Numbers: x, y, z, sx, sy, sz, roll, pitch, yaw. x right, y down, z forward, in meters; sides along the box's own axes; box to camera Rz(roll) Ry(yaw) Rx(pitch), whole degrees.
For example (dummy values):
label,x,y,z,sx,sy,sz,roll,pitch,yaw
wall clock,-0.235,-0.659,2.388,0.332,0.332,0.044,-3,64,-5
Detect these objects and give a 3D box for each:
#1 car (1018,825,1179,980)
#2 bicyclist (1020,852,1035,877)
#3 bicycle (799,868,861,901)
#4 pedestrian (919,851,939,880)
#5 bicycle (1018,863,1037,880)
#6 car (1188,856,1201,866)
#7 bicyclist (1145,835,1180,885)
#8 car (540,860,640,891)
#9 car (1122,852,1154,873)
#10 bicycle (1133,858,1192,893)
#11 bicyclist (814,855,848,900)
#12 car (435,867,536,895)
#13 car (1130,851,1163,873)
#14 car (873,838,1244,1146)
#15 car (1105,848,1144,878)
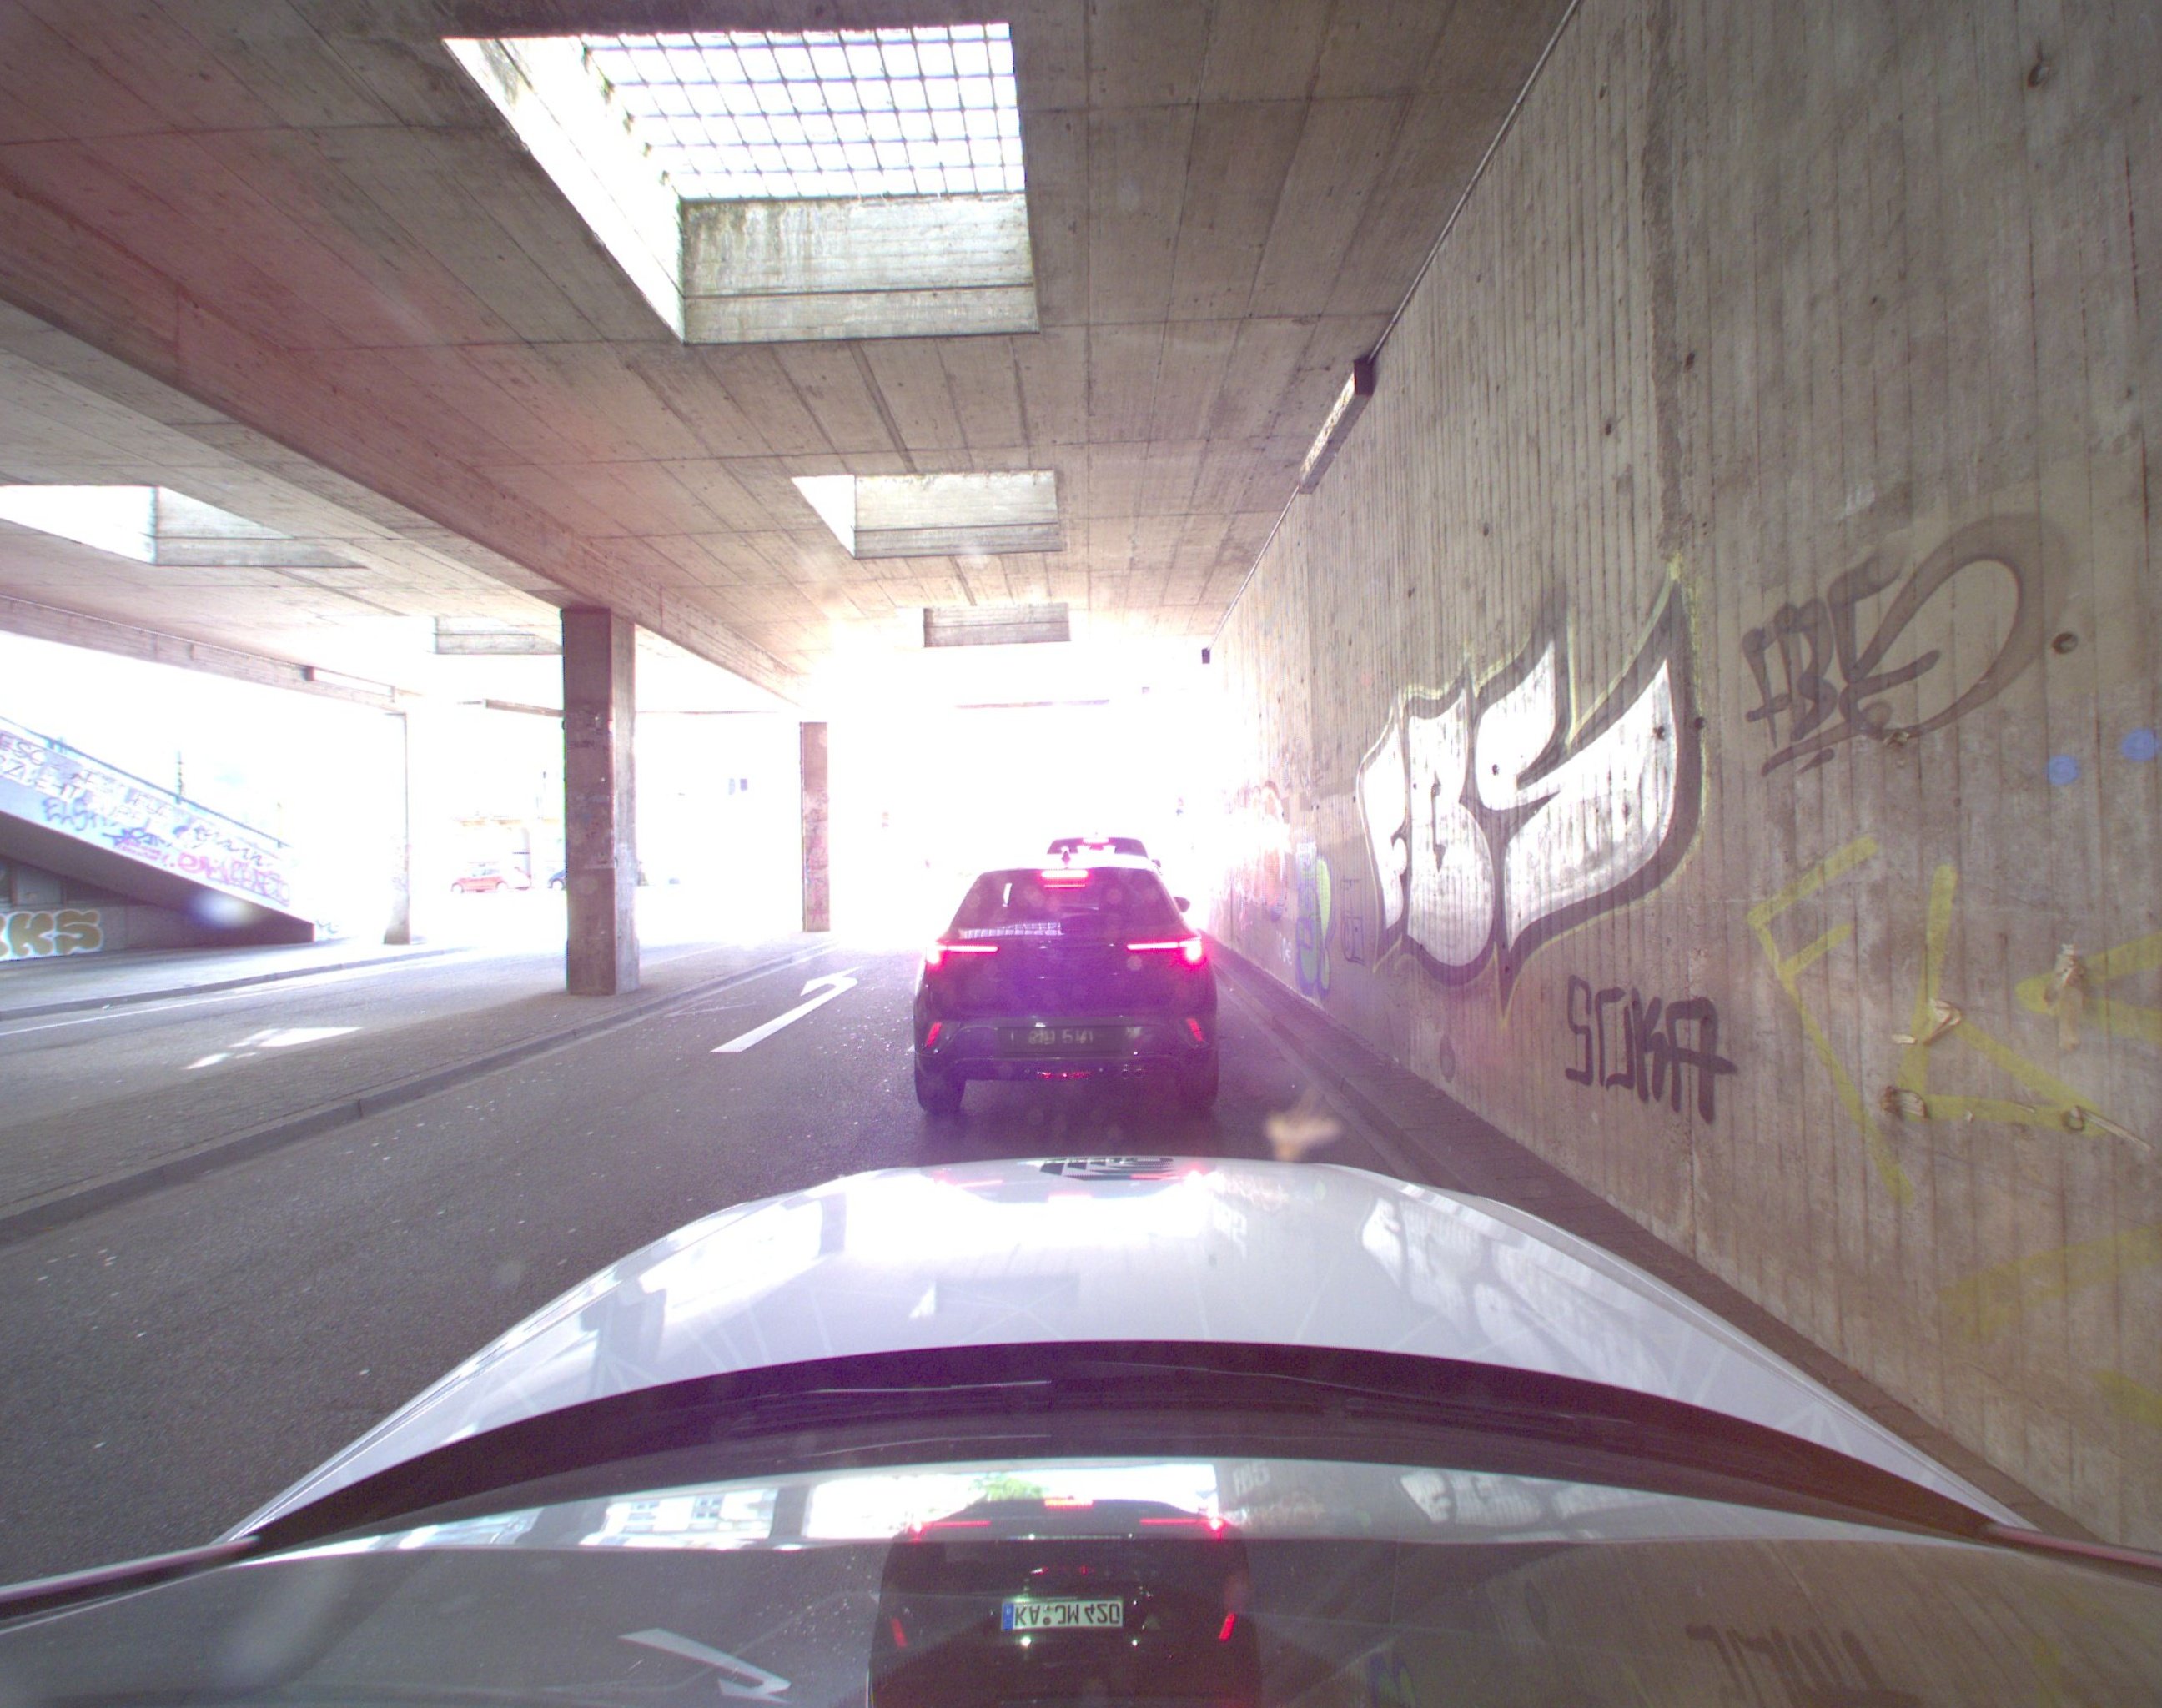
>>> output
label,x,y,z,sx,sy,sz,roll,pitch,yaw
car,0.277,0.595,12.012,1.938,1.860,3.966,-2,0,2
bicyclist,-3.381,0.646,51.783,0.724,1.581,0.817,-1,-1,11
bicycle,-8.547,1.040,27.774,1.849,1.008,0.745,-2,0,-1
pedestrian,-10.939,0.834,58.576,0.986,2.013,1.091,-2,0,10
bicycle,-3.391,1.103,51.748,0.727,1.067,1.694,-1,-1,11
car,19.642,1.198,141.303,1.981,1.662,4.012,-1,-1,11
bicyclist,2.685,0.205,26.711,1.086,1.618,0.631,-1,-1,9
car,-27.212,1.175,45.247,4.114,1.550,2.268,-1,0,1
car,4.405,0.642,62.255,1.955,1.497,3.908,-2,-2,11
bicycle,2.680,0.702,26.678,1.892,1.114,0.612,0,-1,8
bicyclist,-8.515,0.789,27.785,0.867,1.452,0.745,-2,0,-1
car,-33.016,1.464,45.248,3.970,1.374,2.192,-1,0,3
car,5.587,0.687,69.040,2.206,1.719,4.474,-2,-2,12
car,-0.057,0.712,6.192,1.875,1.538,3.966,-2,0,2
car,2.404,0.502,44.270,1.959,1.497,3.900,-2,-2,4
